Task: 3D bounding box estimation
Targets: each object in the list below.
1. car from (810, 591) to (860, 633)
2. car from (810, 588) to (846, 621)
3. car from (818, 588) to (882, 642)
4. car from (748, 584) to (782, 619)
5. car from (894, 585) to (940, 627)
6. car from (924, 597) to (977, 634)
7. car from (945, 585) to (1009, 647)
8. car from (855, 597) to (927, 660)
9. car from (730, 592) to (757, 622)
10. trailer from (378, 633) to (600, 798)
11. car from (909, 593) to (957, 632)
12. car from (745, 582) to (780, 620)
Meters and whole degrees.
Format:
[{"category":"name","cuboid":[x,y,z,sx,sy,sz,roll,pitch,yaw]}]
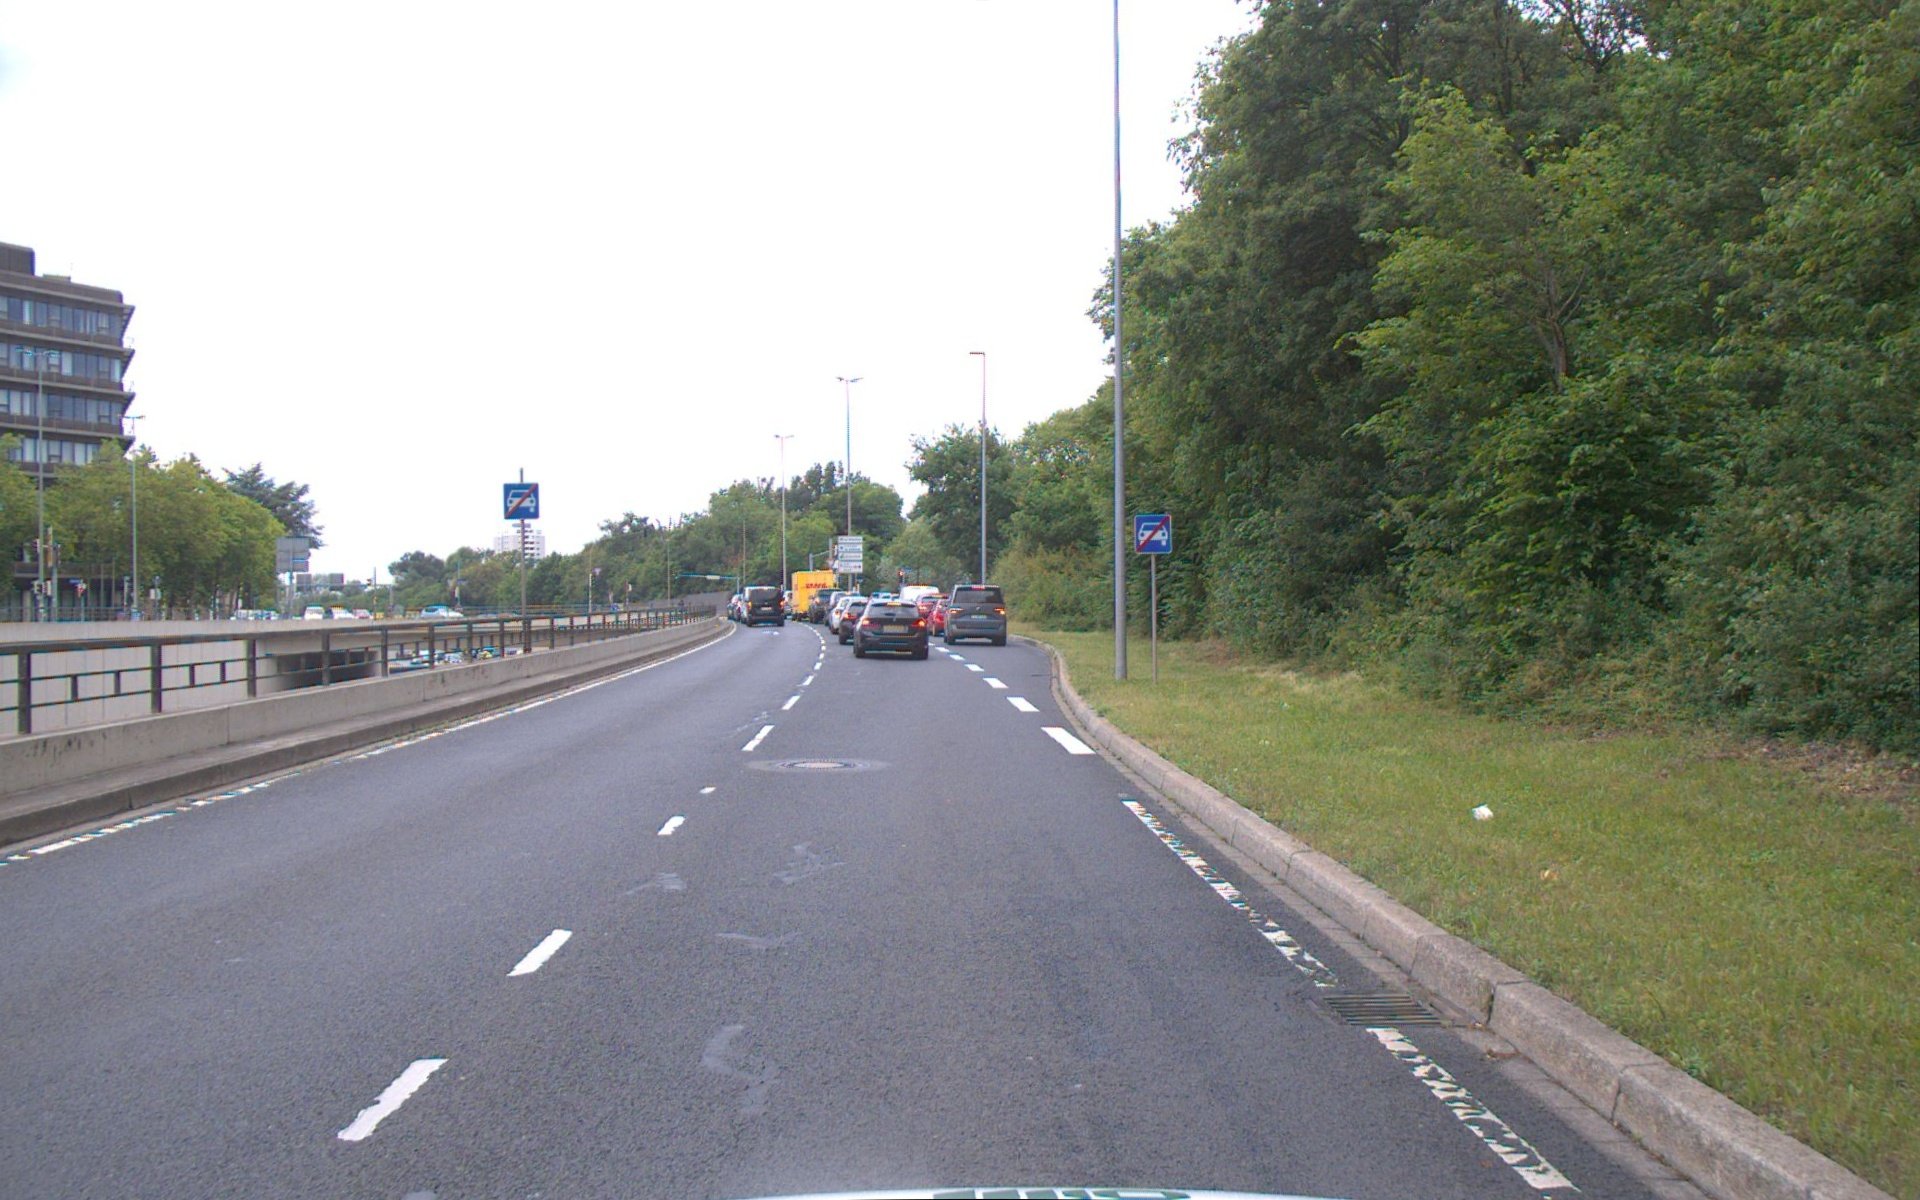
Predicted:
[{"category":"car","cuboid":[-5.085,0.471,66.911,1.848,1.620,4.424,1,0,-6]},{"category":"car","cuboid":[-7.137,0.252,89.094,1.848,1.730,4.424,1,0,-6]},{"category":"car","cuboid":[-3.548,0.460,52.671,1.848,1.620,4.424,1,0,-6]},{"category":"car","cuboid":[-9.905,0.085,83.917,1.593,1.731,4.288,1,0,-8]},{"category":"car","cuboid":[-2.076,0.302,78.769,1.848,1.912,4.424,1,0,-6]},{"category":"car","cuboid":[-0.408,0.616,64.957,1.847,1.379,3.997,1,0,-3]},{"category":"car","cuboid":[0.510,0.503,53.816,1.861,1.917,4.413,1,0,-2]},{"category":"car","cuboid":[-1.752,0.667,41.553,1.713,1.451,4.459,0,1,-3]},{"category":"car","cuboid":[-13.044,0.443,99.568,1.593,1.731,4.288,1,0,-8]},{"category":"trailer","cuboid":[-14.090,3.175,51.378,2.794,4.107,15.998,-1,-1,-2]},{"category":"car","cuboid":[-1.175,0.540,70.268,1.847,1.572,3.997,1,0,-3]},{"category":"car","cuboid":[-10.990,0.075,92.048,1.848,2.022,4.424,1,0,-6]}]
